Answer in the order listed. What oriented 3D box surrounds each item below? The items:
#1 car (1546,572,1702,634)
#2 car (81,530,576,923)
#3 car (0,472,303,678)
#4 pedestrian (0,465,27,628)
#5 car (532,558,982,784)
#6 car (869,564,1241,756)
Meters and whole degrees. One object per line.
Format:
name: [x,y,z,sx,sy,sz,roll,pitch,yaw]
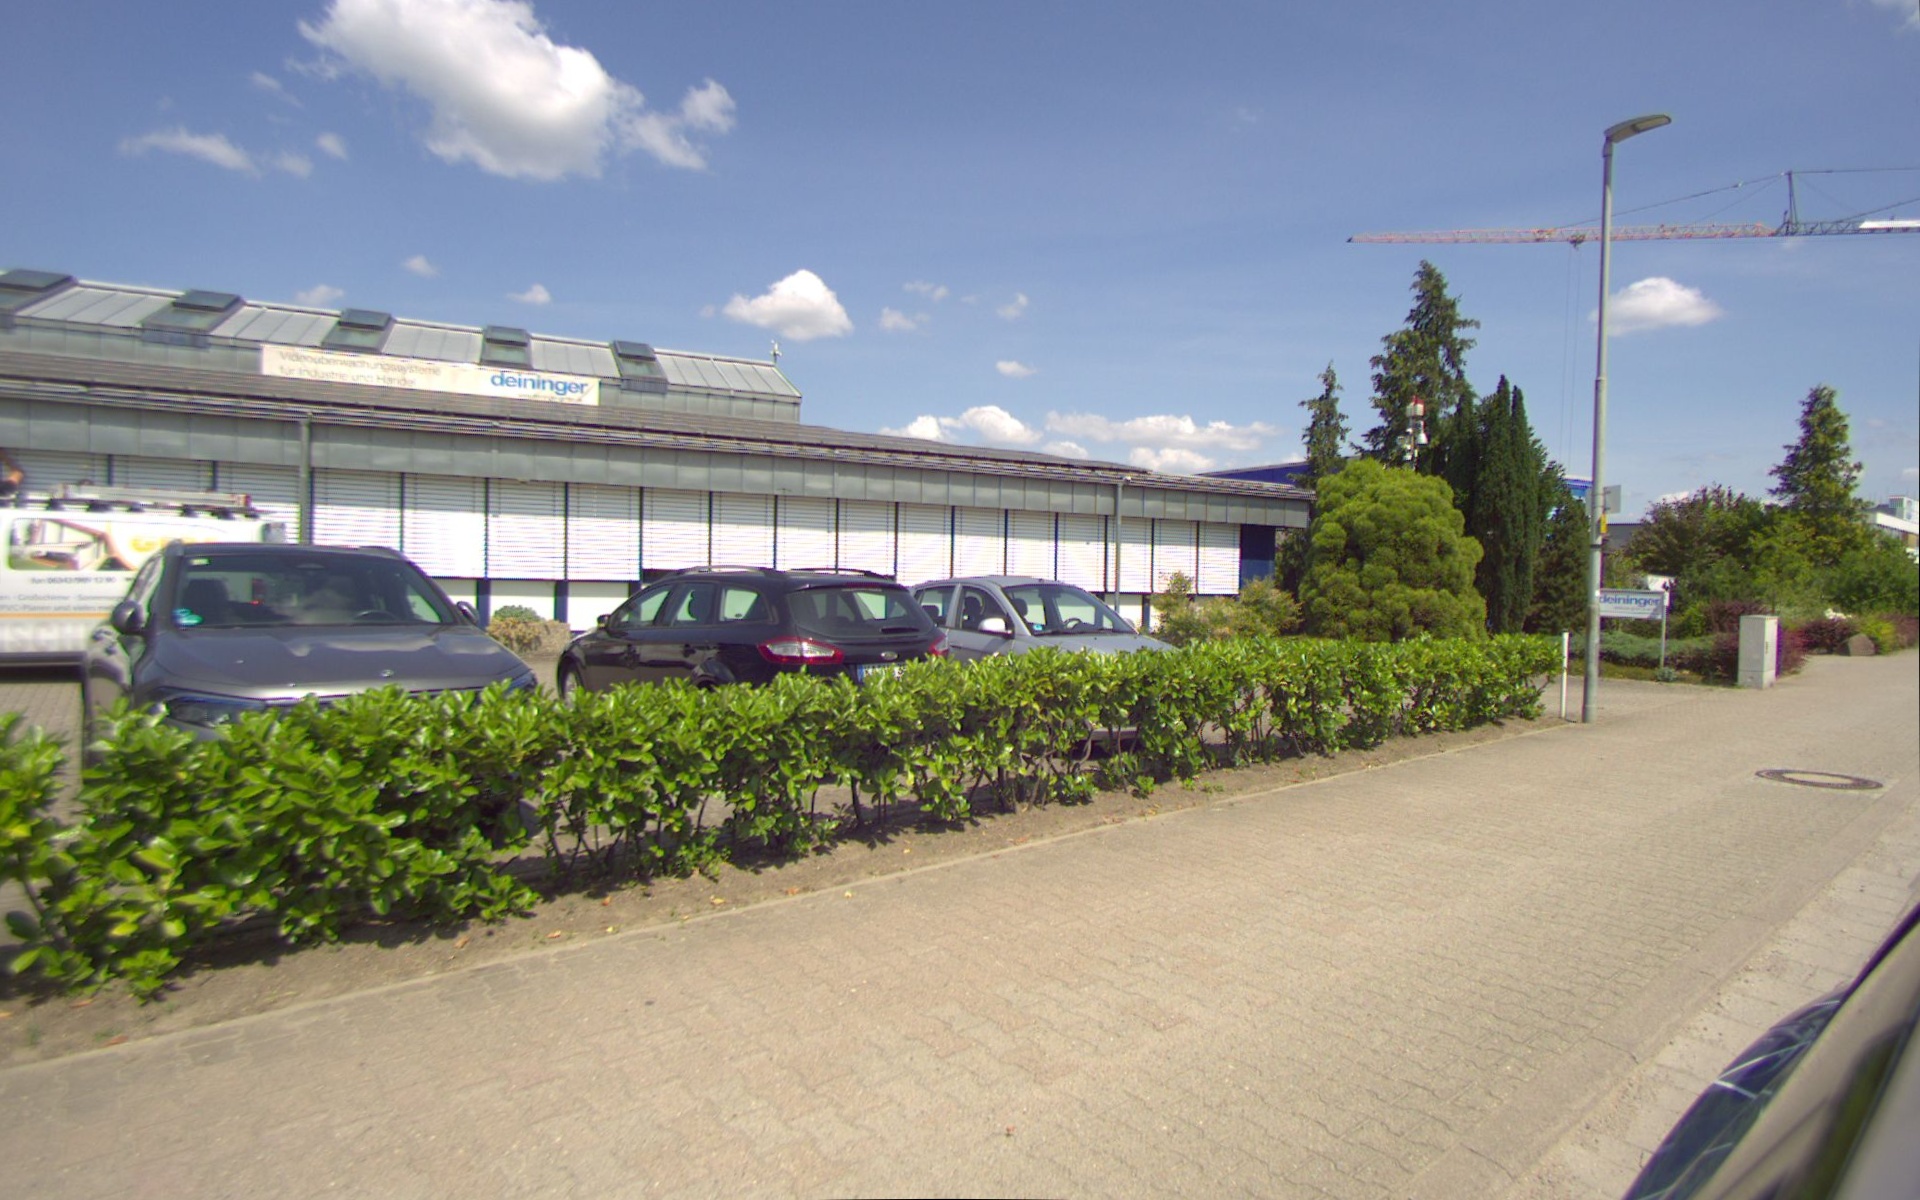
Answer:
car: [21.895,0.039,33.375,4.692,1.819,1.909,-1,4,-22]
car: [-4.011,0.384,6.110,1.687,1.593,4.037,-3,5,-44]
car: [-10.372,-0.321,11.519,4.619,2.151,2.112,0,3,-26]
pedestrian: [-11.948,-0.653,12.401,0.678,1.966,0.717,-2,4,-41]
car: [-1.995,0.398,8.796,1.784,1.458,4.480,0,1,-42]
car: [0.743,0.418,9.655,1.736,1.419,3.364,0,2,-35]
